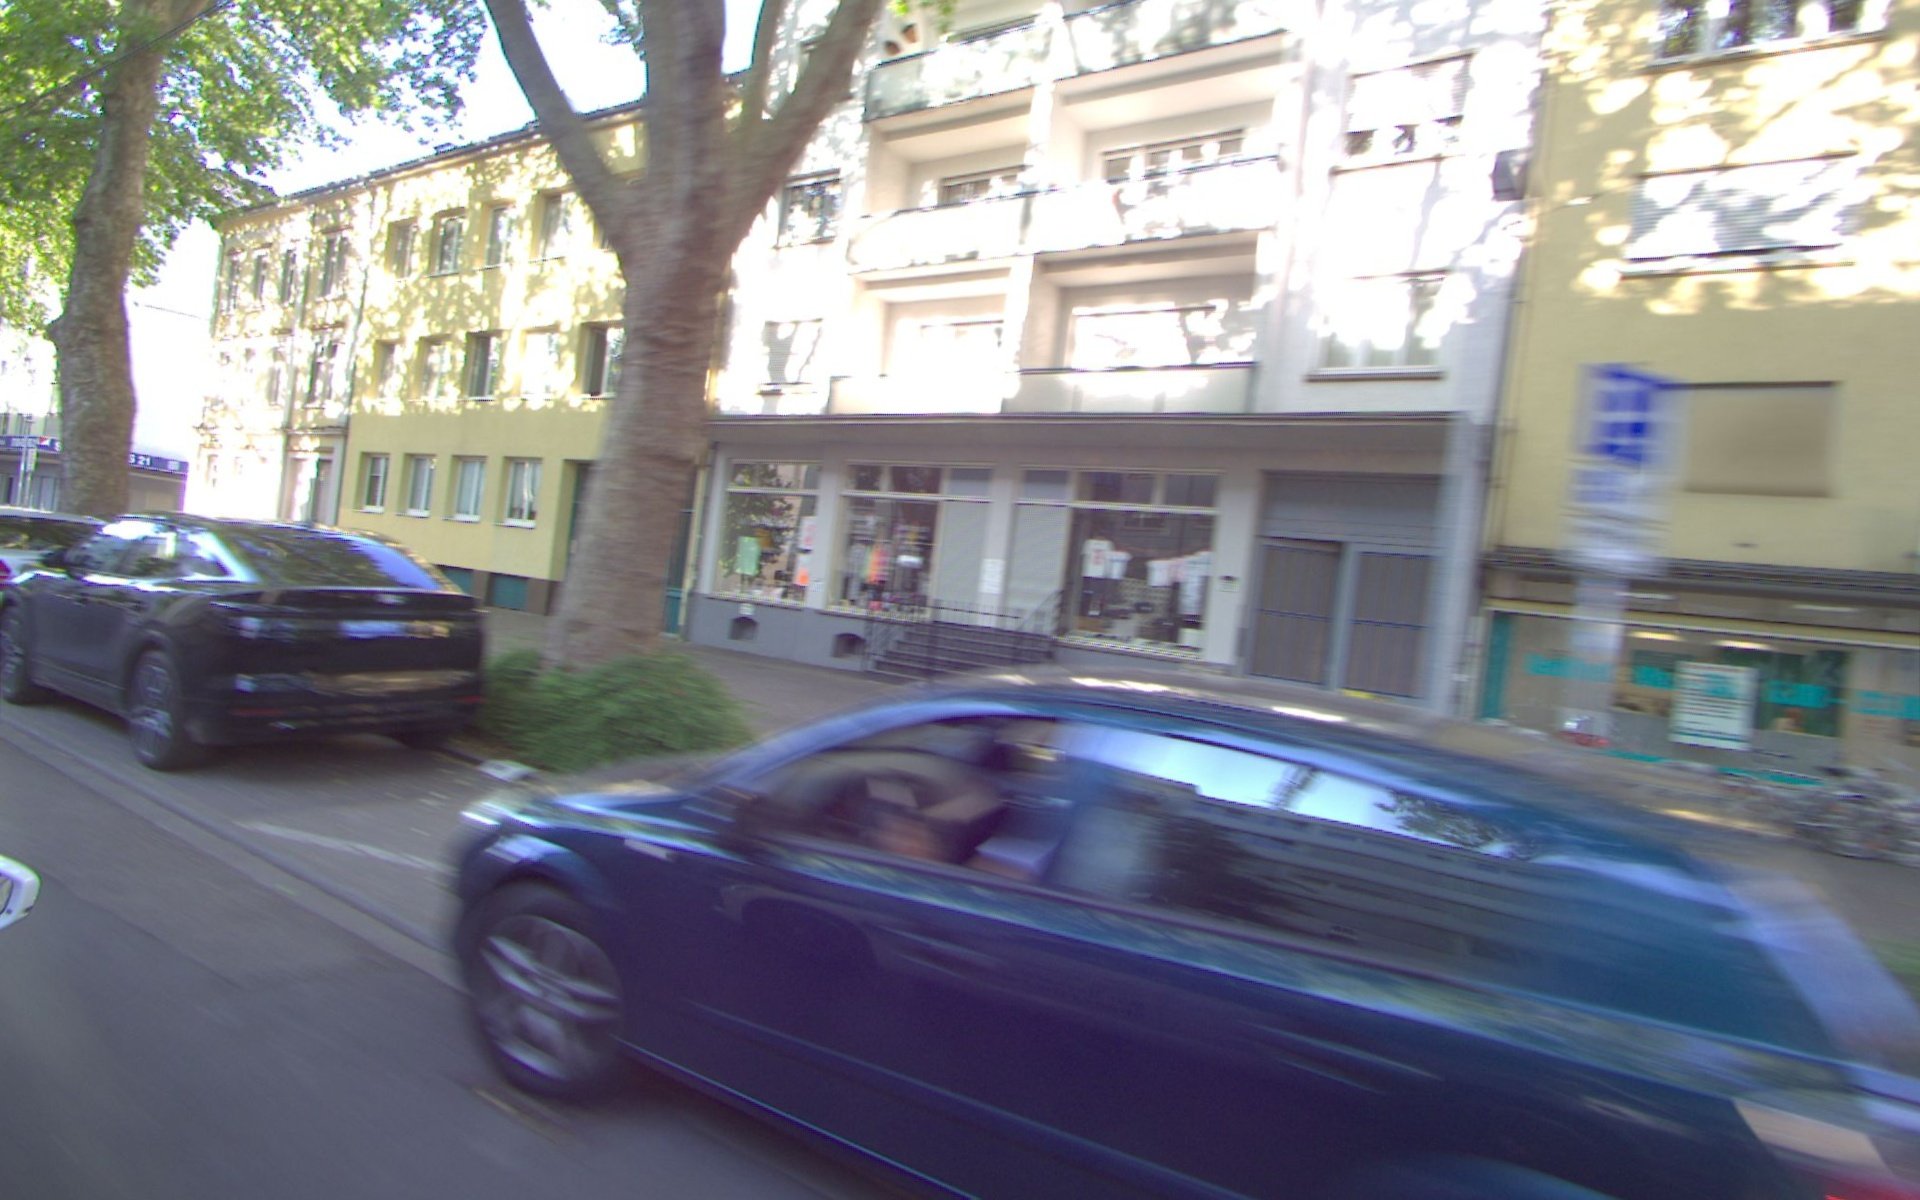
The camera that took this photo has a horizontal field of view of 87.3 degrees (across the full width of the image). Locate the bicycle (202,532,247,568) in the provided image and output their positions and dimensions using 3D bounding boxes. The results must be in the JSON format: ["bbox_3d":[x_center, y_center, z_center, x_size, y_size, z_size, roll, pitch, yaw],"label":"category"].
[{"bbox_3d":[-26.067,-1.780,35.624,1.891,1.118,0.583,6,1,33],"label":"bicycle"}]

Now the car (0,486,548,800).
[{"bbox_3d":[-5.427,0.146,7.505,4.703,1.623,1.859,6,0,32],"label":"car"}]

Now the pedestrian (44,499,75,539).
[{"bbox_3d":[-39.742,-3.571,44.396,0.655,1.664,0.747,7,0,35],"label":"pedestrian"}]

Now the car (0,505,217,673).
[{"bbox_3d":[-9.879,-0.239,10.390,4.525,1.453,1.819,6,0,30],"label":"car"}]

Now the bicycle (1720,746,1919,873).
[{"bbox_3d":[9.439,2.249,10.910,1.750,1.009,0.571,6,1,29],"label":"bicycle"}]

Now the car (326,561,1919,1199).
[{"bbox_3d":[0.193,0.863,3.135,4.154,1.455,1.867,7,0,30],"label":"car"}]

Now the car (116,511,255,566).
[{"bbox_3d":[-32.842,-2.585,42.771,1.965,1.612,4.142,7,-2,28],"label":"car"}]

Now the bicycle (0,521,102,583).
[{"bbox_3d":[-17.331,-0.911,18.738,1.947,1.019,0.507,5,2,-31],"label":"bicycle"}]
